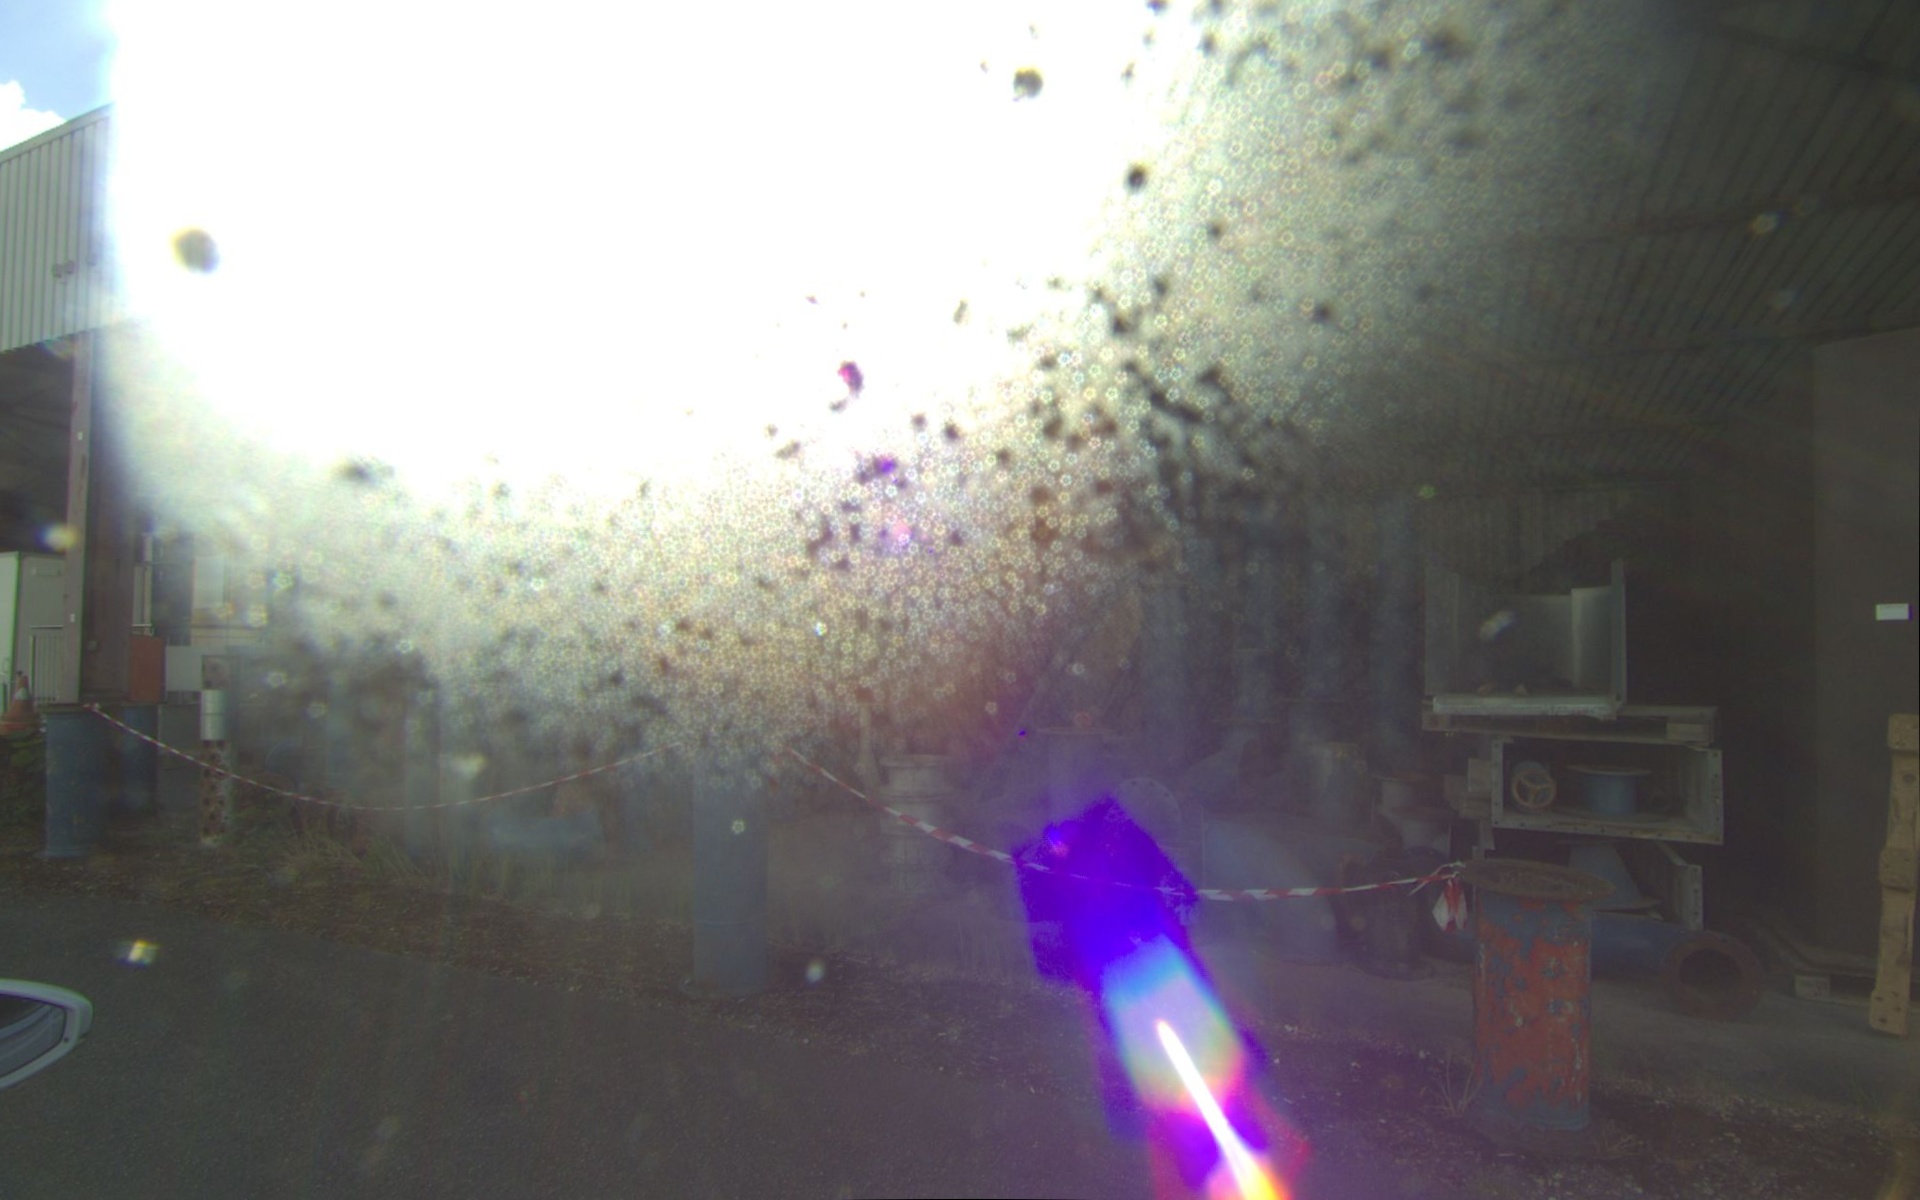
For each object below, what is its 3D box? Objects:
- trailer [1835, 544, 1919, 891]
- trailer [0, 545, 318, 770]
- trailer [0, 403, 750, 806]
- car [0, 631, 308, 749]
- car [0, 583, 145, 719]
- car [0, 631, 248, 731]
[{"bbox_3d":[6.084,0.642,4.612,2.015,2.022,4.815,-1,-2,28],"label":"trailer"},{"bbox_3d":[-10.401,0.647,11.832,1.661,2.365,4.542,0,-2,26],"label":"trailer"},{"bbox_3d":[-7.041,0.202,13.144,2.632,3.337,10.295,0,-2,26],"label":"trailer"},{"bbox_3d":[-12.064,1.183,14.295,1.833,1.451,4.349,-1,-2,22],"label":"car"},{"bbox_3d":[-17.545,0.865,17.107,2.050,2.326,5.220,-1,-3,24],"label":"car"},{"bbox_3d":[-14.394,1.254,16.407,1.820,1.472,4.109,-1,-2,25],"label":"car"}]
